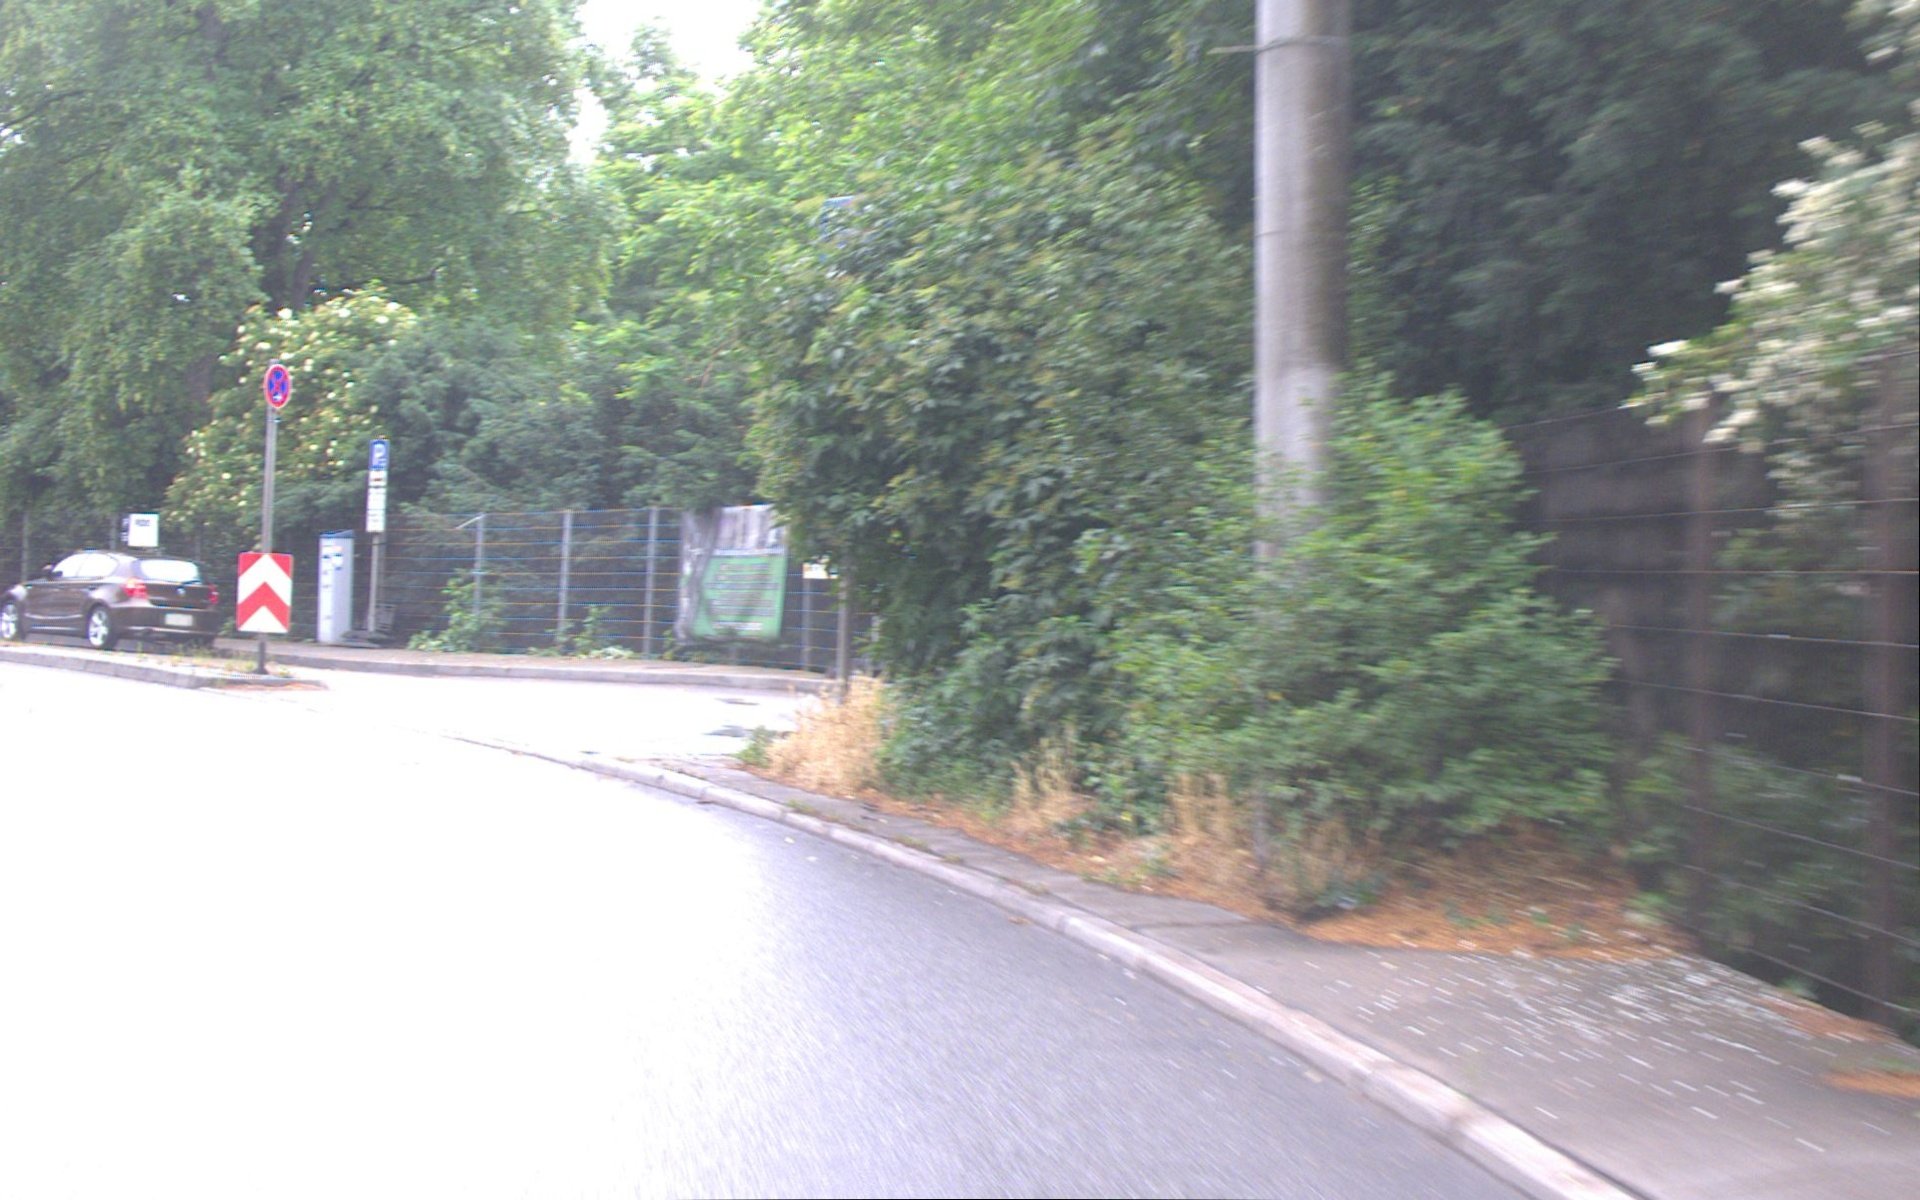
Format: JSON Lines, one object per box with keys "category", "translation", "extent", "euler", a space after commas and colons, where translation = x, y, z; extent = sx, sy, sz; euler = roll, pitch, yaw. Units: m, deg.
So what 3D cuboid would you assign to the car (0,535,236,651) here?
{"category": "car", "translation": [-12.276, -0.123, 49.227], "extent": [1.688, 1.422, 4.369], "euler": [5, -1, -42]}
